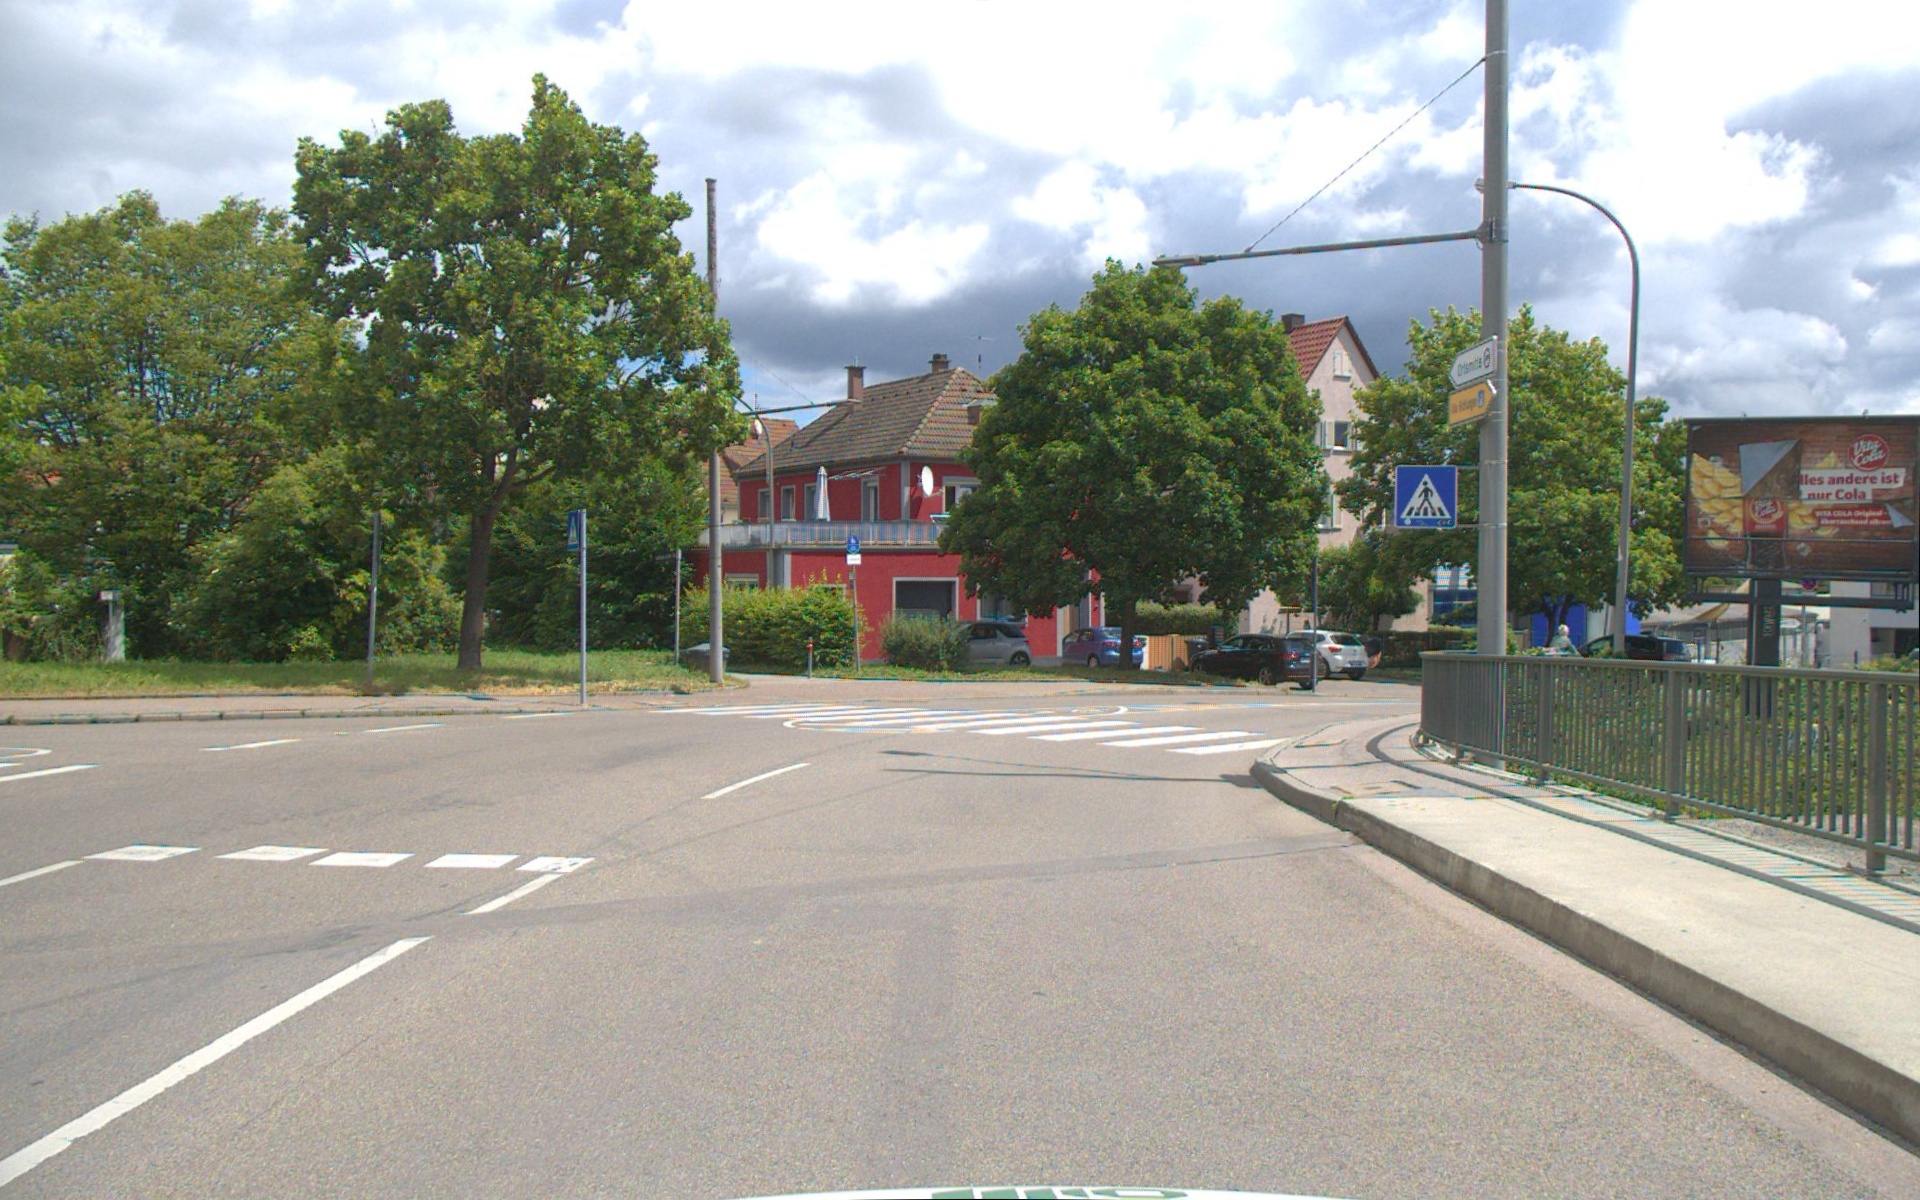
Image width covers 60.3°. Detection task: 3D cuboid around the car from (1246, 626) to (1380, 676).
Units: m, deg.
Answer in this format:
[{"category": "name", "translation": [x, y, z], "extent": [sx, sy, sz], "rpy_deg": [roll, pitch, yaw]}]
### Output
[{"category": "car", "translation": [10.966, 1.582, 51.586], "extent": [1.854, 1.428, 3.884], "rpy_deg": [2, -1, -35]}]

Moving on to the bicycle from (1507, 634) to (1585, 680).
[{"category": "bicycle", "translation": [12.105, 1.187, 34.127], "extent": [2.085, 0.894, 0.678], "rpy_deg": [4, -4, -44]}]

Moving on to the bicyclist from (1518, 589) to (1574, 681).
[{"category": "bicyclist", "translation": [12.114, 0.738, 34.171], "extent": [1.072, 1.858, 0.676], "rpy_deg": [4, -4, -43]}]

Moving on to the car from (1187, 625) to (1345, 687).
[{"category": "car", "translation": [8.231, 1.484, 44.832], "extent": [1.973, 1.417, 4.101], "rpy_deg": [2, 0, -31]}]

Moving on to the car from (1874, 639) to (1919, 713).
[{"category": "car", "translation": [24.725, 1.918, 41.103], "extent": [4.253, 1.707, 1.692], "rpy_deg": [2, 0, -33]}]

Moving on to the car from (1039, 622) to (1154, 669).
[{"category": "car", "translation": [4.323, 1.428, 52.910], "extent": [1.818, 1.402, 3.774], "rpy_deg": [1, -1, -31]}]

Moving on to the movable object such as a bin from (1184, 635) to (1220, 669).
[{"category": "movable object such as a bin", "translation": [7.930, 1.706, 54.241], "extent": [0.867, 1.080, 0.751], "rpy_deg": [2, 0, -28]}]

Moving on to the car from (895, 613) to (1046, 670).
[{"category": "car", "translation": [0.313, 1.171, 46.554], "extent": [4.026, 1.450, 1.627], "rpy_deg": [2, 0, -33]}]

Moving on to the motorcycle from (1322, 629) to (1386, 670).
[{"category": "motorcycle", "translation": [13.904, 1.749, 58.365], "extent": [2.208, 1.338, 0.910], "rpy_deg": [3, 0, -34]}]
